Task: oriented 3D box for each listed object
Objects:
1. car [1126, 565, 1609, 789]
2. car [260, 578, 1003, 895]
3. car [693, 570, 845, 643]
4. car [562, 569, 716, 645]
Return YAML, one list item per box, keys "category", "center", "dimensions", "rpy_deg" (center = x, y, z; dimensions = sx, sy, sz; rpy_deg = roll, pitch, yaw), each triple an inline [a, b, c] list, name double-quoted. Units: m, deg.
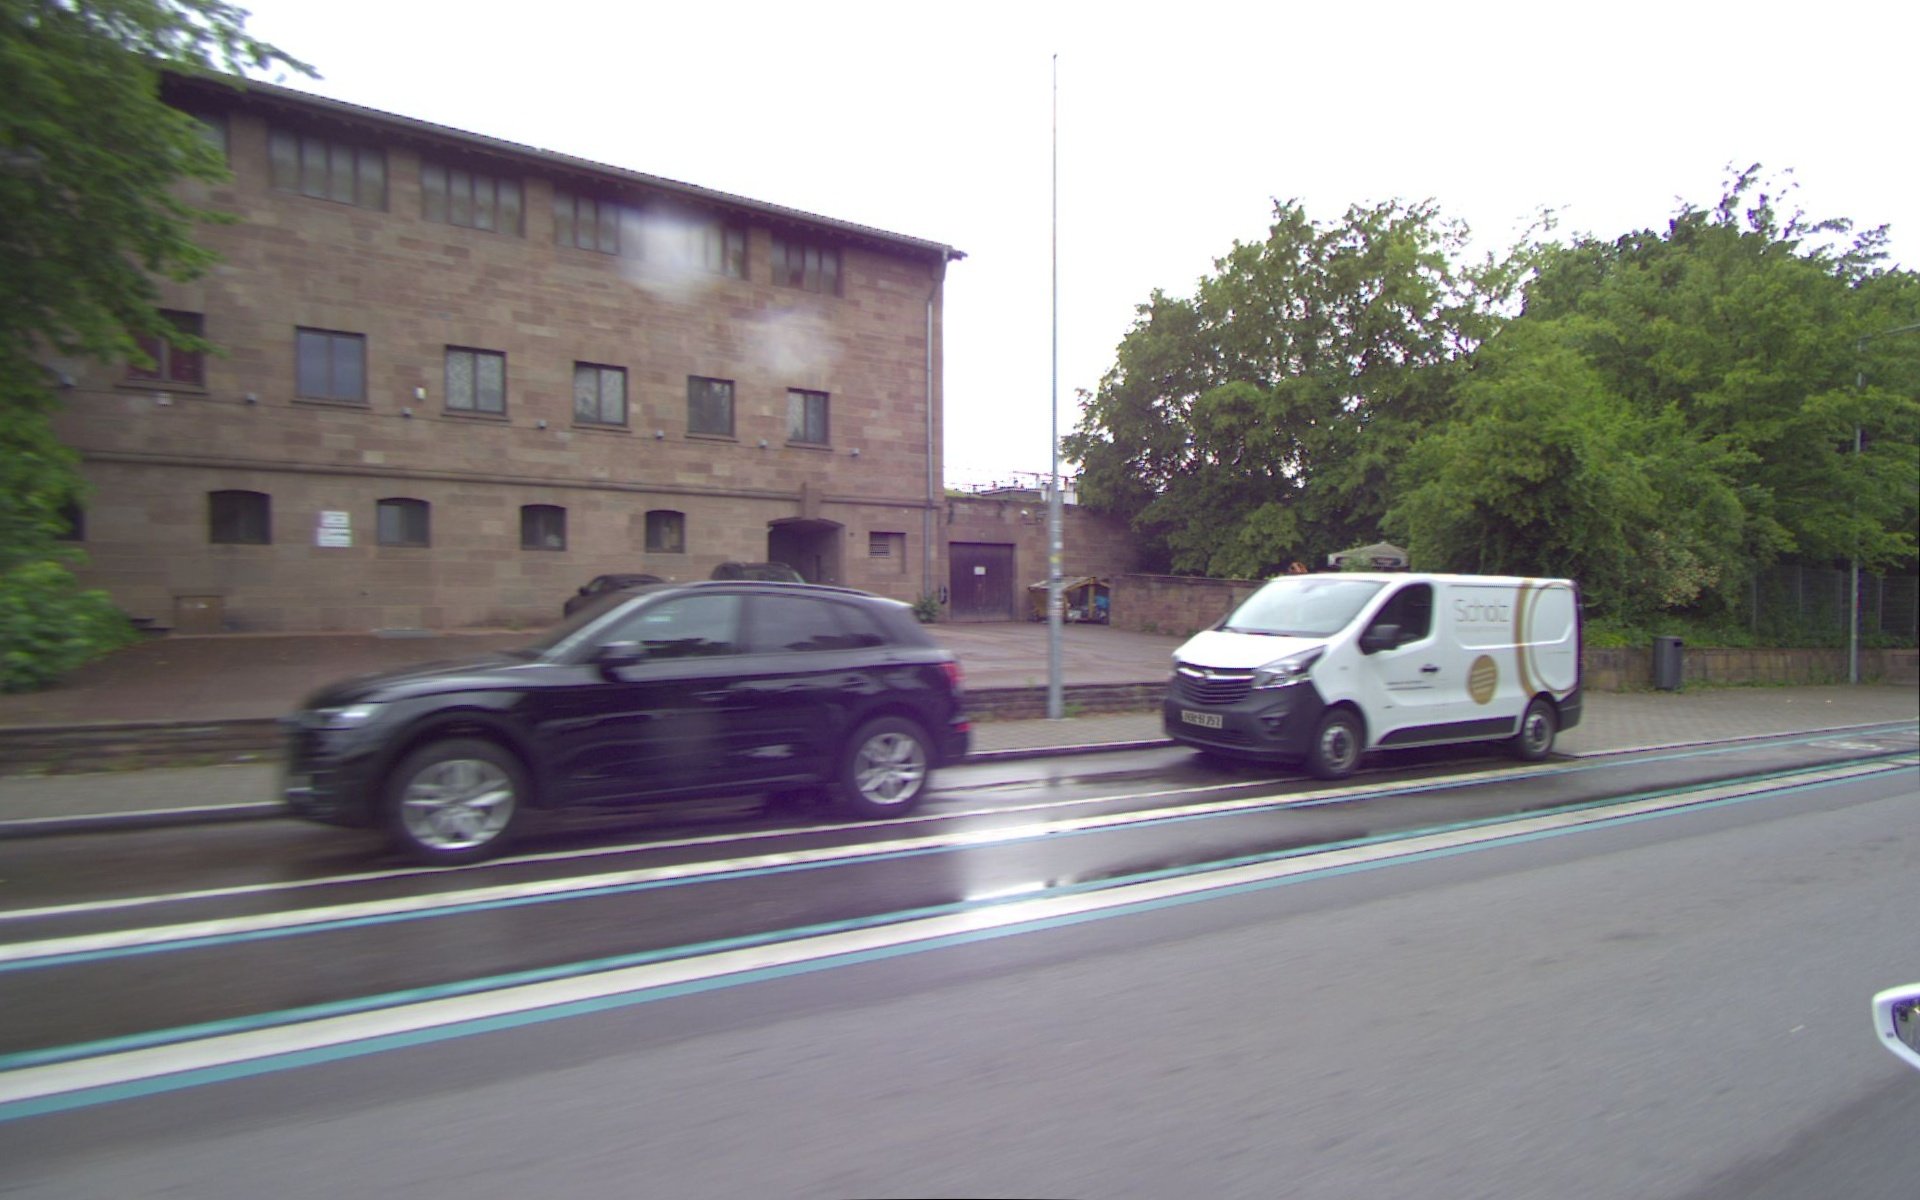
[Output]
- category: "car"
  center: [4.457, 0.678, 10.780]
  dimensions: [5.161, 1.940, 1.970]
  rpy_deg: [0, 0, -28]
- category: "car"
  center: [-2.102, 0.728, 7.174]
  dimensions: [4.609, 1.637, 1.815]
  rpy_deg: [1, 0, -31]
- category: "car"
  center: [-4.732, 0.076, 24.251]
  dimensions: [2.165, 1.499, 4.746]
  rpy_deg: [0, 2, -30]
- category: "car"
  center: [-7.287, 0.108, 22.506]
  dimensions: [2.239, 1.451, 4.277]
  rpy_deg: [1, 2, -33]
